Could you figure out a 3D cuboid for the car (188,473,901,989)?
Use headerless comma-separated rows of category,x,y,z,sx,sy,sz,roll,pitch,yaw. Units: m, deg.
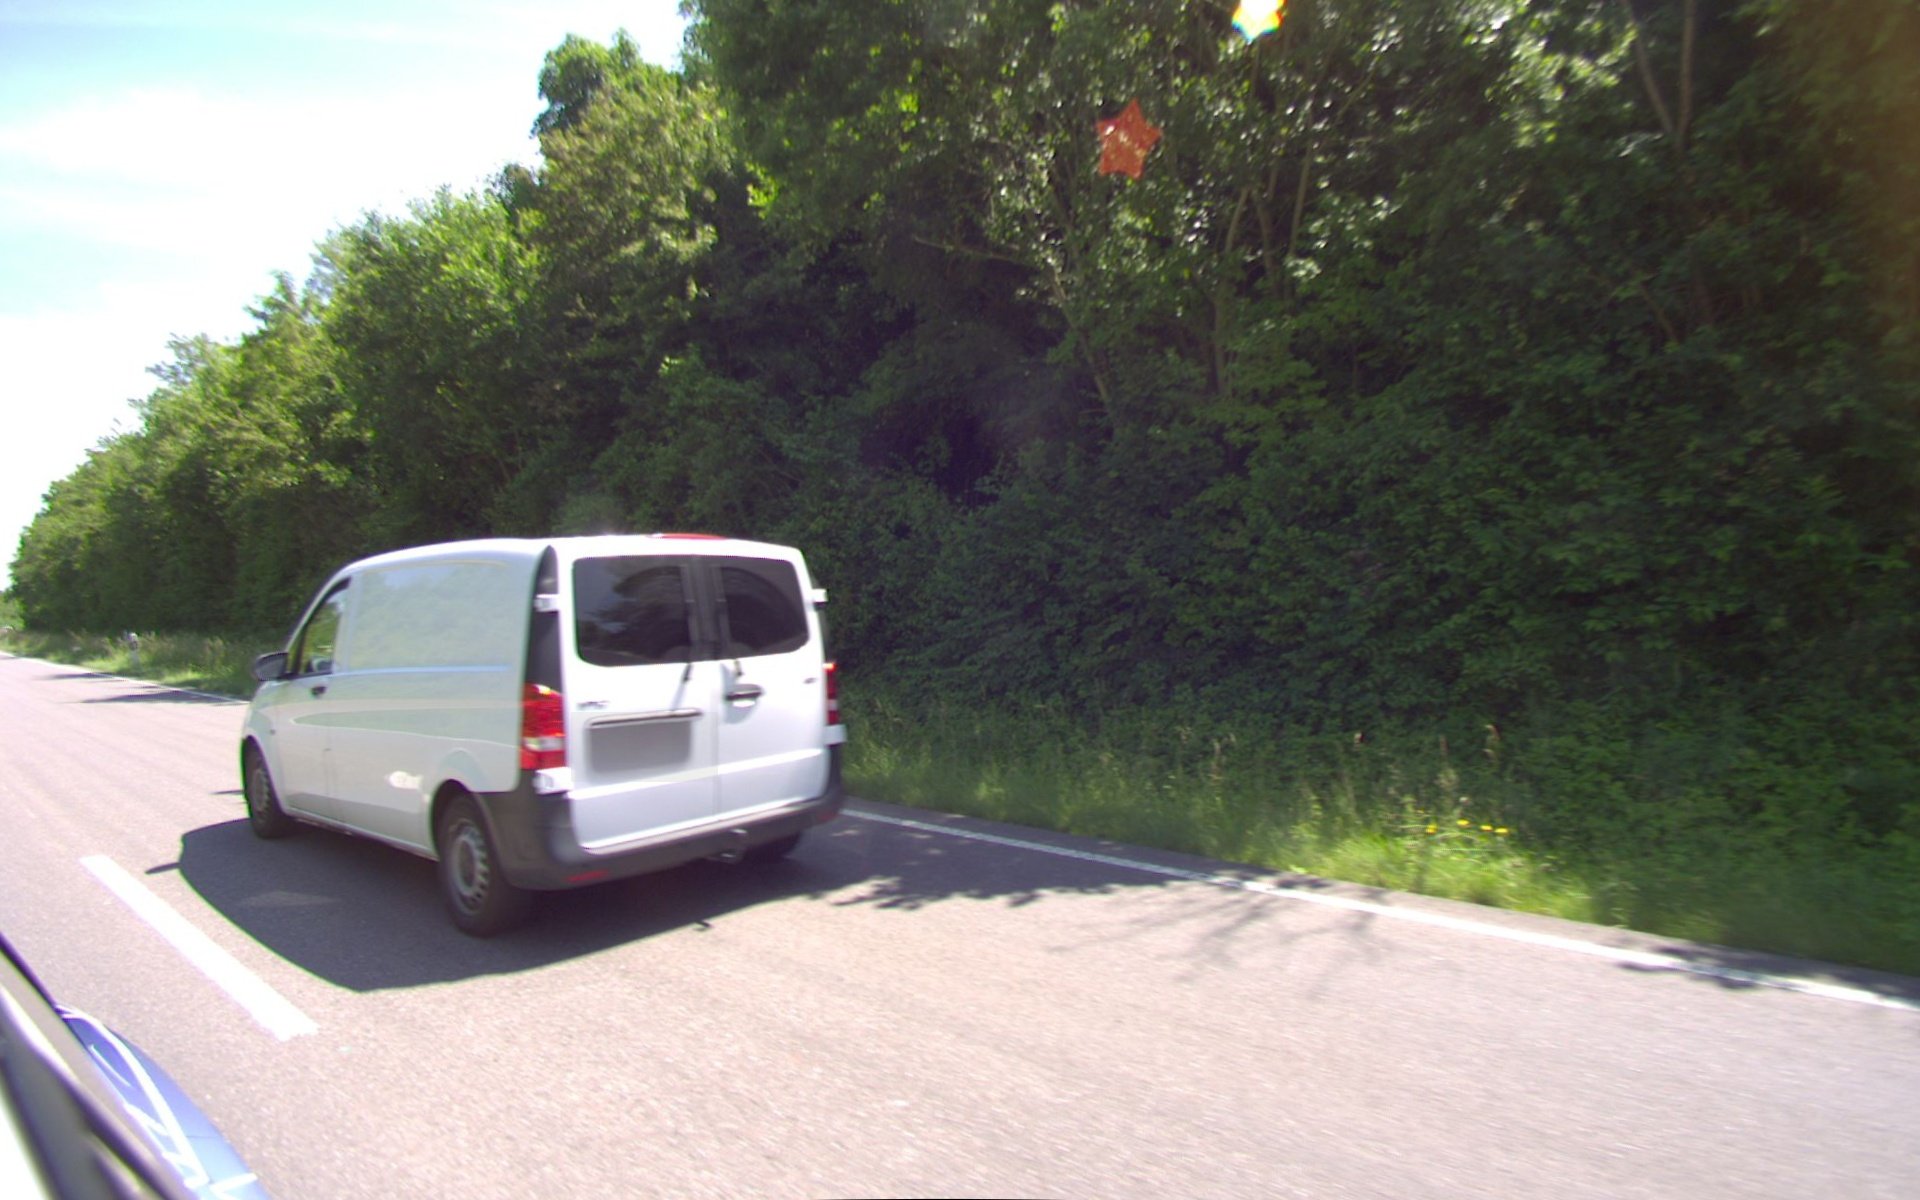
car,-2.939,0.528,6.258,5.325,1.920,1.911,-1,-1,41
